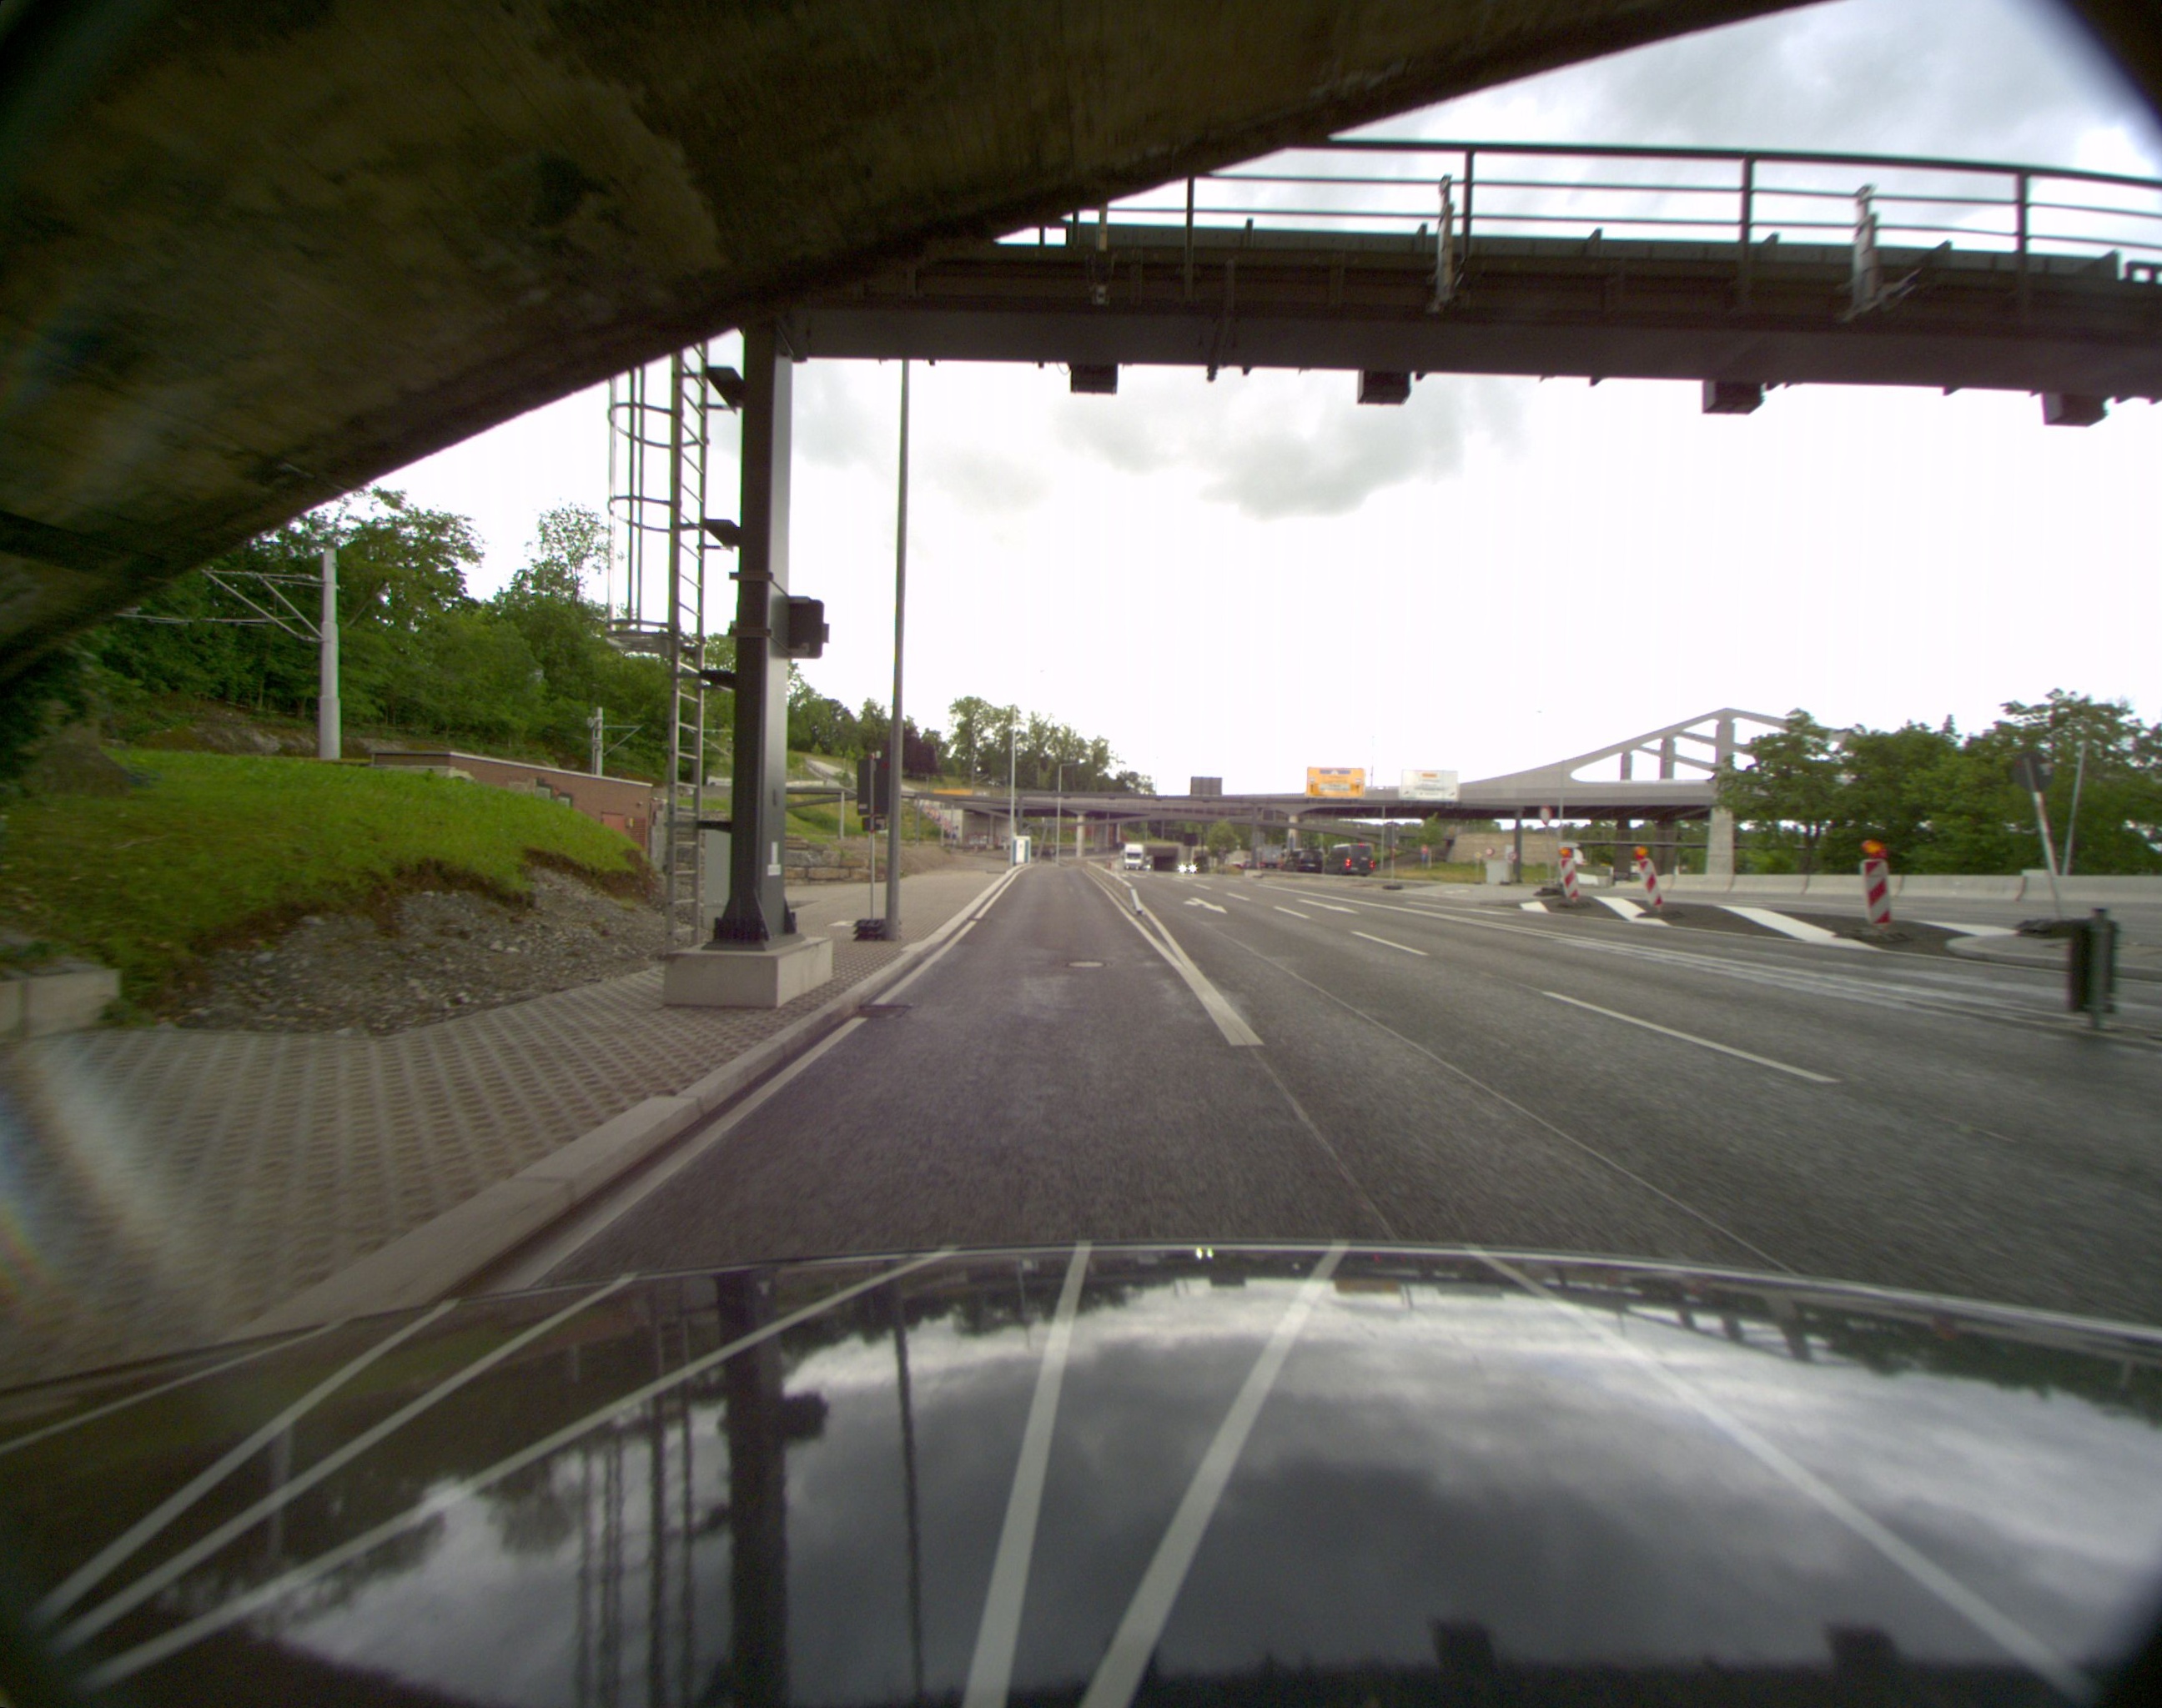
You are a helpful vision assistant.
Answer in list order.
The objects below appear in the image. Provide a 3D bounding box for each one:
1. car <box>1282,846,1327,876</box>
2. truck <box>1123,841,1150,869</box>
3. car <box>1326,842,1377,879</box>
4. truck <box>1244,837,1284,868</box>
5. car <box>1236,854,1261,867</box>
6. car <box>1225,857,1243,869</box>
[{"bbox_3d":[17.328,0.517,59.264,1.967,2.003,5.186,1,3,1],"label":"car"},{"bbox_3d":[6.435,0.139,89.407,2.748,3.108,8.120,0,0,1],"label":"truck"},{"bbox_3d":[21.311,0.438,60.131,2.220,2.761,6.145,0,2,5],"label":"car"},{"bbox_3d":[25.527,-0.055,106.819,2.905,4.037,13.994,2,-1,3],"label":"truck"},{"bbox_3d":[19.335,0.736,87.941,1.891,1.323,4.255,2,1,-1],"label":"car"},{"bbox_3d":[22.945,1.317,113.860,1.710,1.611,4.452,5,0,0],"label":"car"}]
